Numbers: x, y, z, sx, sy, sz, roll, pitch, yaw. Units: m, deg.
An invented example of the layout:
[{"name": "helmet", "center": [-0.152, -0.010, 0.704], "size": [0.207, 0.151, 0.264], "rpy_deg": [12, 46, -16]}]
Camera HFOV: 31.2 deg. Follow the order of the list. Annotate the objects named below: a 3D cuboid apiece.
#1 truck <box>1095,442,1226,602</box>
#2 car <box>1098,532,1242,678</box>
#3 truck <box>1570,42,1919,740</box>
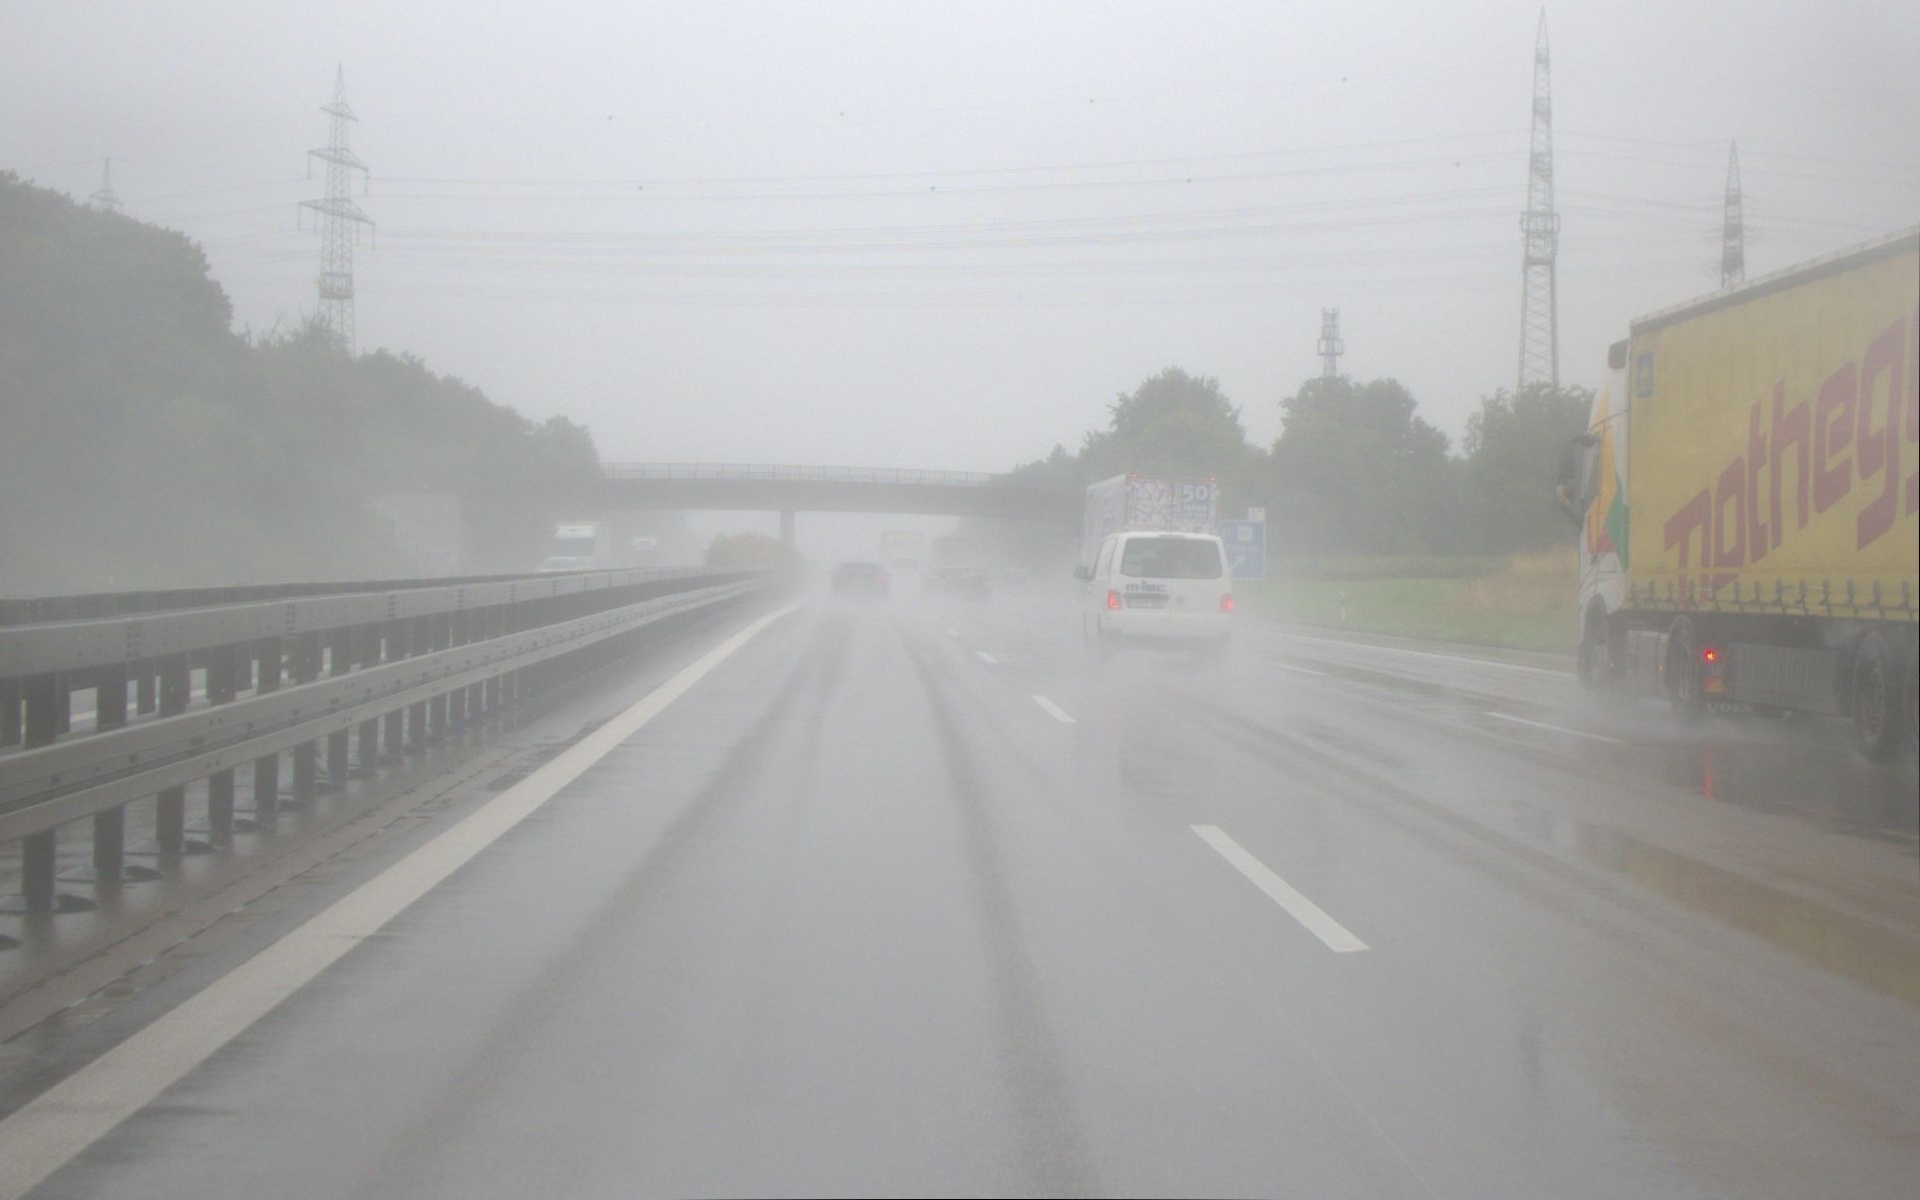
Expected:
[{"name": "truck", "center": [5.588, -2.236, 97.219], "size": [3.232, 4.296, 8.837], "rpy_deg": [0, 2, 1]}, {"name": "car", "center": [3.038, 0.030, 50.179], "size": [1.994, 2.007, 4.000], "rpy_deg": [0, 2, 3]}, {"name": "truck", "center": [8.505, -1.489, 28.457], "size": [4.189, 4.614, 16.106], "rpy_deg": [0, 1, 1]}]
